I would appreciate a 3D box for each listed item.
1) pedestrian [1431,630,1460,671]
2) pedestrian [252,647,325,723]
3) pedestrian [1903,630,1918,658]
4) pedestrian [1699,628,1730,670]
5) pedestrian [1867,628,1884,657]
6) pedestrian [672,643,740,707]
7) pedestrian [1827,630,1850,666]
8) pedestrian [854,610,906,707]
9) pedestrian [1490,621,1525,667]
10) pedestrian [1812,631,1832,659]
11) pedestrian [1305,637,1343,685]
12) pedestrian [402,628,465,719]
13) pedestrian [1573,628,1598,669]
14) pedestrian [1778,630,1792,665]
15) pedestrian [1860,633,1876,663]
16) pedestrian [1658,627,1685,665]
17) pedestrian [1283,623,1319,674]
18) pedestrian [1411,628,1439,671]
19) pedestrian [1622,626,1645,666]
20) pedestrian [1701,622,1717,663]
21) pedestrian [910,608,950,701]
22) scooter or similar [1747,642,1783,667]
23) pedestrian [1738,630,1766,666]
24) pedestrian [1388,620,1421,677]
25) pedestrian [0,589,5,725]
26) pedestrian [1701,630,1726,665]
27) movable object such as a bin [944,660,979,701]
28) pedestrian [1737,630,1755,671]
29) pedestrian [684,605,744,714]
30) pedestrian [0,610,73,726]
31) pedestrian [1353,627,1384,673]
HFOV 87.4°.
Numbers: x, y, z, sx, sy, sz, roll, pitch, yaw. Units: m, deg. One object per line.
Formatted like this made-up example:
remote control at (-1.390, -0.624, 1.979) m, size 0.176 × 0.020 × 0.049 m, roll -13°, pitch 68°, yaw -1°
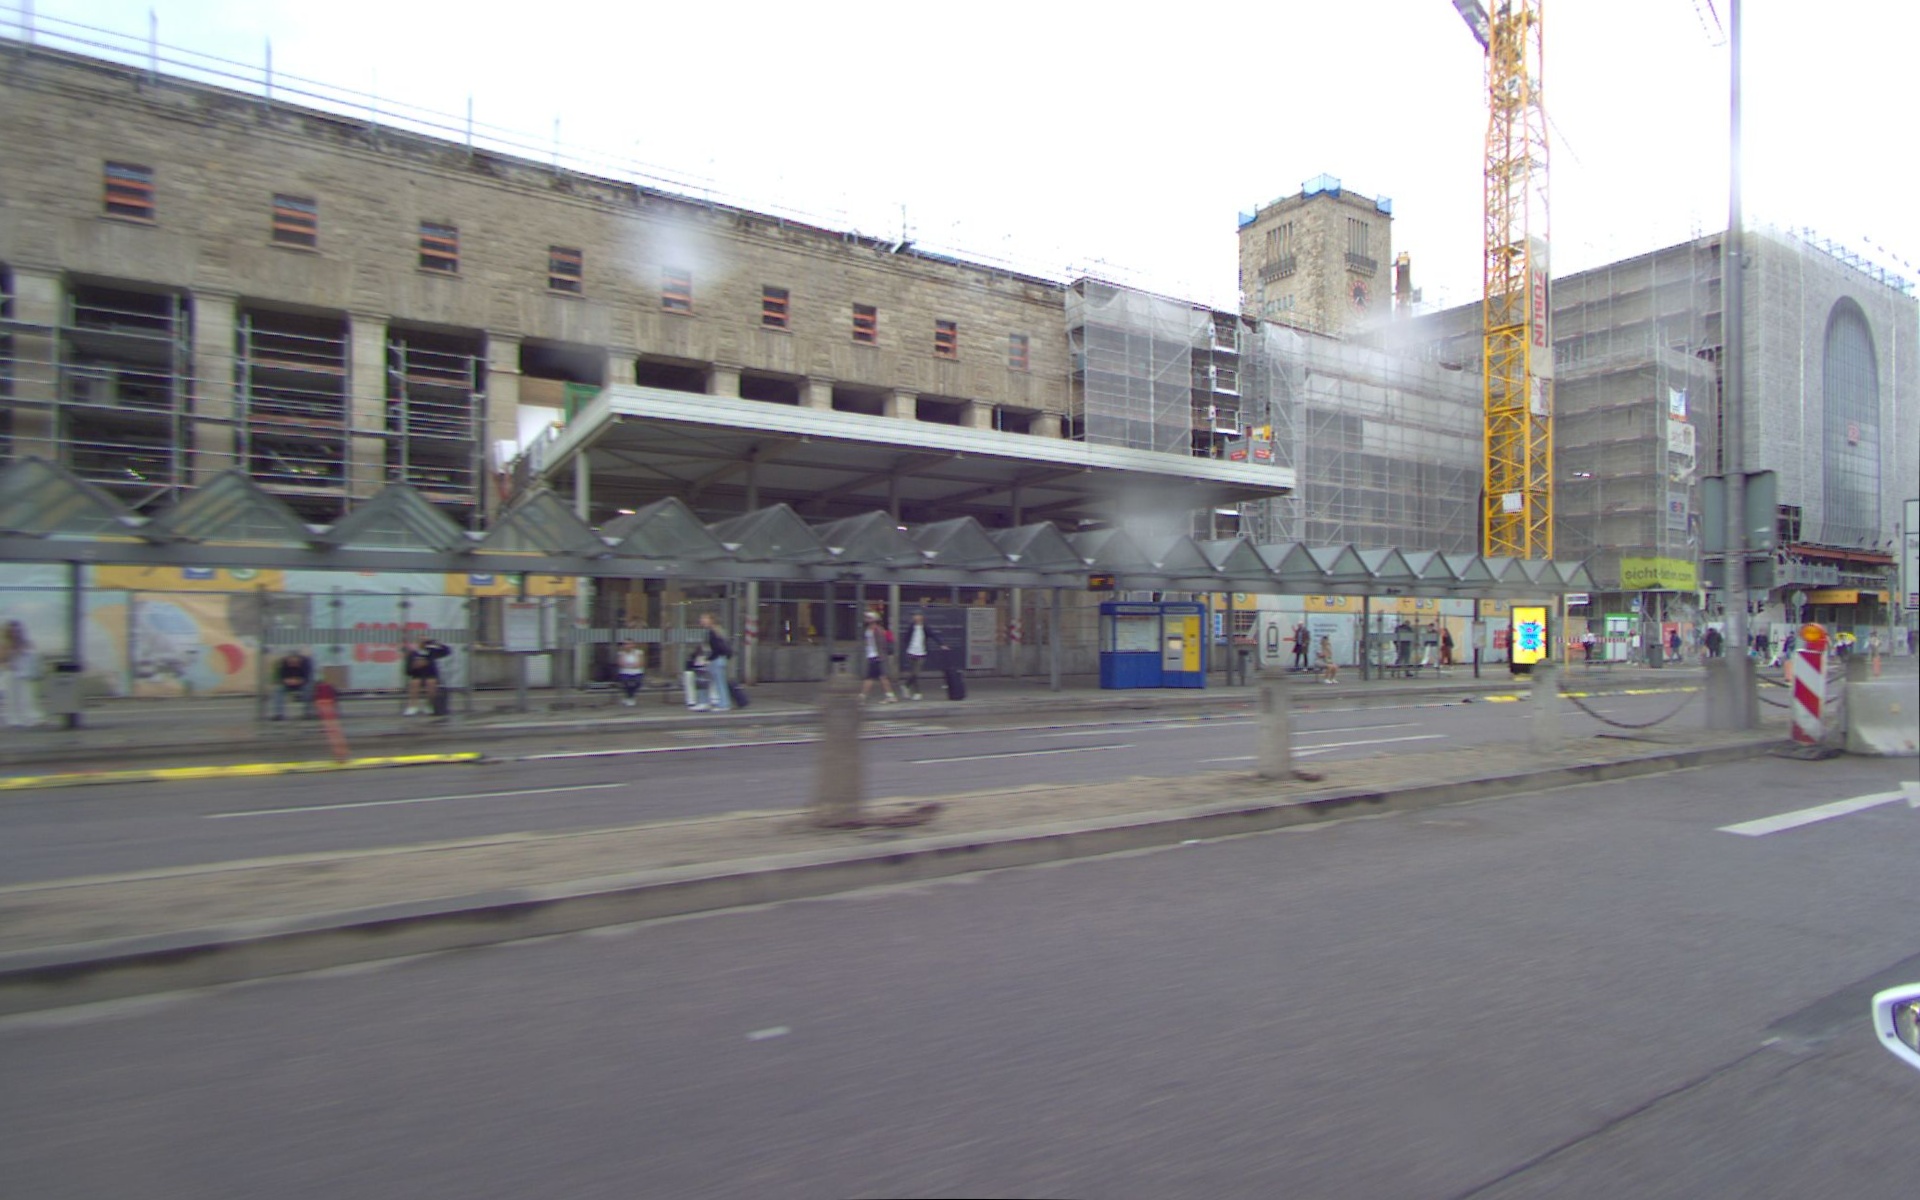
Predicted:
pedestrian at (19.187, 2.000, 39.726) m, size 0.695 × 1.568 × 0.797 m, roll 1°, pitch -1°, yaw -37°
pedestrian at (-10.490, 1.307, 15.725) m, size 0.916 × 1.107 × 0.839 m, roll 1°, pitch -1°, yaw -33°
pedestrian at (64.535, 2.972, 68.200) m, size 0.763 × 1.865 × 0.532 m, roll 1°, pitch -1°, yaw -33°
pedestrian at (34.062, 2.188, 45.358) m, size 0.861 × 1.865 × 0.704 m, roll 1°, pitch -1°, yaw -3°
pedestrian at (59.193, 2.758, 64.960) m, size 0.763 × 1.865 × 0.830 m, roll 0°, pitch -1°, yaw 44°
pedestrian at (-4.944, 1.444, 19.531) m, size 1.043 × 1.173 × 0.944 m, roll 1°, pitch -1°, yaw -32°
pedestrian at (46.429, 2.544, 53.061) m, size 0.866 × 1.865 × 0.833 m, roll 0°, pitch -1°, yaw 44°
pedestrian at (-1.531, 1.108, 19.348) m, size 0.768 × 1.814 × 0.672 m, roll 1°, pitch -1°, yaw 19°
pedestrian at (22.986, 1.842, 42.181) m, size 1.033 × 1.865 × 0.852 m, roll 1°, pitch 1°, yaw -32°
pedestrian at (51.552, 2.669, 60.100) m, size 0.829 × 1.635 × 0.673 m, roll 1°, pitch -1°, yaw -30°
pedestrian at (10.456, 1.742, 28.854) m, size 0.797 × 1.343 × 0.695 m, roll 1°, pitch -1°, yaw -33°
pedestrian at (-8.845, 1.203, 16.863) m, size 0.822 × 1.451 × 1.049 m, roll 1°, pitch -1°, yaw -33°
pedestrian at (28.438, 2.203, 45.703) m, size 0.648 × 1.865 × 0.739 m, roll 1°, pitch -1°, yaw -28°
pedestrian at (44.881, 2.584, 54.644) m, size 0.564 × 1.865 × 0.700 m, roll 0°, pitch -1°, yaw 44°
pedestrian at (52.662, 2.761, 58.273) m, size 0.674 × 1.708 × 0.833 m, roll 0°, pitch -1°, yaw 44°
pedestrian at (35.785, 2.305, 50.535) m, size 0.857 × 1.865 × 0.799 m, roll 1°, pitch -1°, yaw -29°
pedestrian at (11.897, 1.679, 35.058) m, size 0.828 × 1.722 × 0.872 m, roll 1°, pitch -1°, yaw -33°
pedestrian at (18.715, 1.986, 40.414) m, size 0.695 × 1.693 × 0.797 m, roll 1°, pitch -1°, yaw -37°
pedestrian at (32.051, 2.165, 47.822) m, size 0.604 × 1.865 × 0.718 m, roll 1°, pitch -1°, yaw -28°
pedestrian at (34.320, 1.958, 46.029) m, size 0.501 × 1.865 × 0.338 m, roll 1°, pitch -1°, yaw -17°
pedestrian at (-0.606, 1.115, 20.644) m, size 0.664 × 1.872 × 0.558 m, roll 1°, pitch -1°, yaw 14°
scooter or similar at (36.193, 2.440, 45.151) m, size 1.215 × 1.080 × 0.460 m, roll 1°, pitch -1°, yaw 3°
pedestrian at (41.731, 2.508, 52.938) m, size 1.045 × 1.865 × 0.835 m, roll 1°, pitch -1°, yaw -29°
pedestrian at (14.799, 1.622, 33.472) m, size 0.689 × 1.865 × 0.745 m, roll 1°, pitch -1°, yaw -12°
pedestrian at (-12.980, 0.752, 13.032) m, size 0.741 × 1.814 × 0.718 m, roll 1°, pitch -1°, yaw -38°
pedestrian at (41.315, 2.606, 55.064) m, size 0.840 × 1.865 × 0.799 m, roll 1°, pitch -1°, yaw -29°
movable object such as a bin at (0.036, 1.639, 20.585) m, size 0.621 × 0.800 × 0.512 m, roll 0°, pitch -2°, yaw 13°
pedestrian at (35.911, 2.307, 45.889) m, size 0.698 × 1.865 × 0.503 m, roll 1°, pitch -1°, yaw -38°
pedestrian at (-4.257, 1.008, 17.334) m, size 0.849 × 1.814 × 0.773 m, roll 1°, pitch -1°, yaw -25°
pedestrian at (-13.550, 0.978, 14.699) m, size 0.799 × 1.652 × 0.551 m, roll 1°, pitch -1°, yaw -40°
pedestrian at (14.876, 1.806, 36.584) m, size 0.694 × 1.629 × 0.798 m, roll 1°, pitch -1°, yaw -33°
